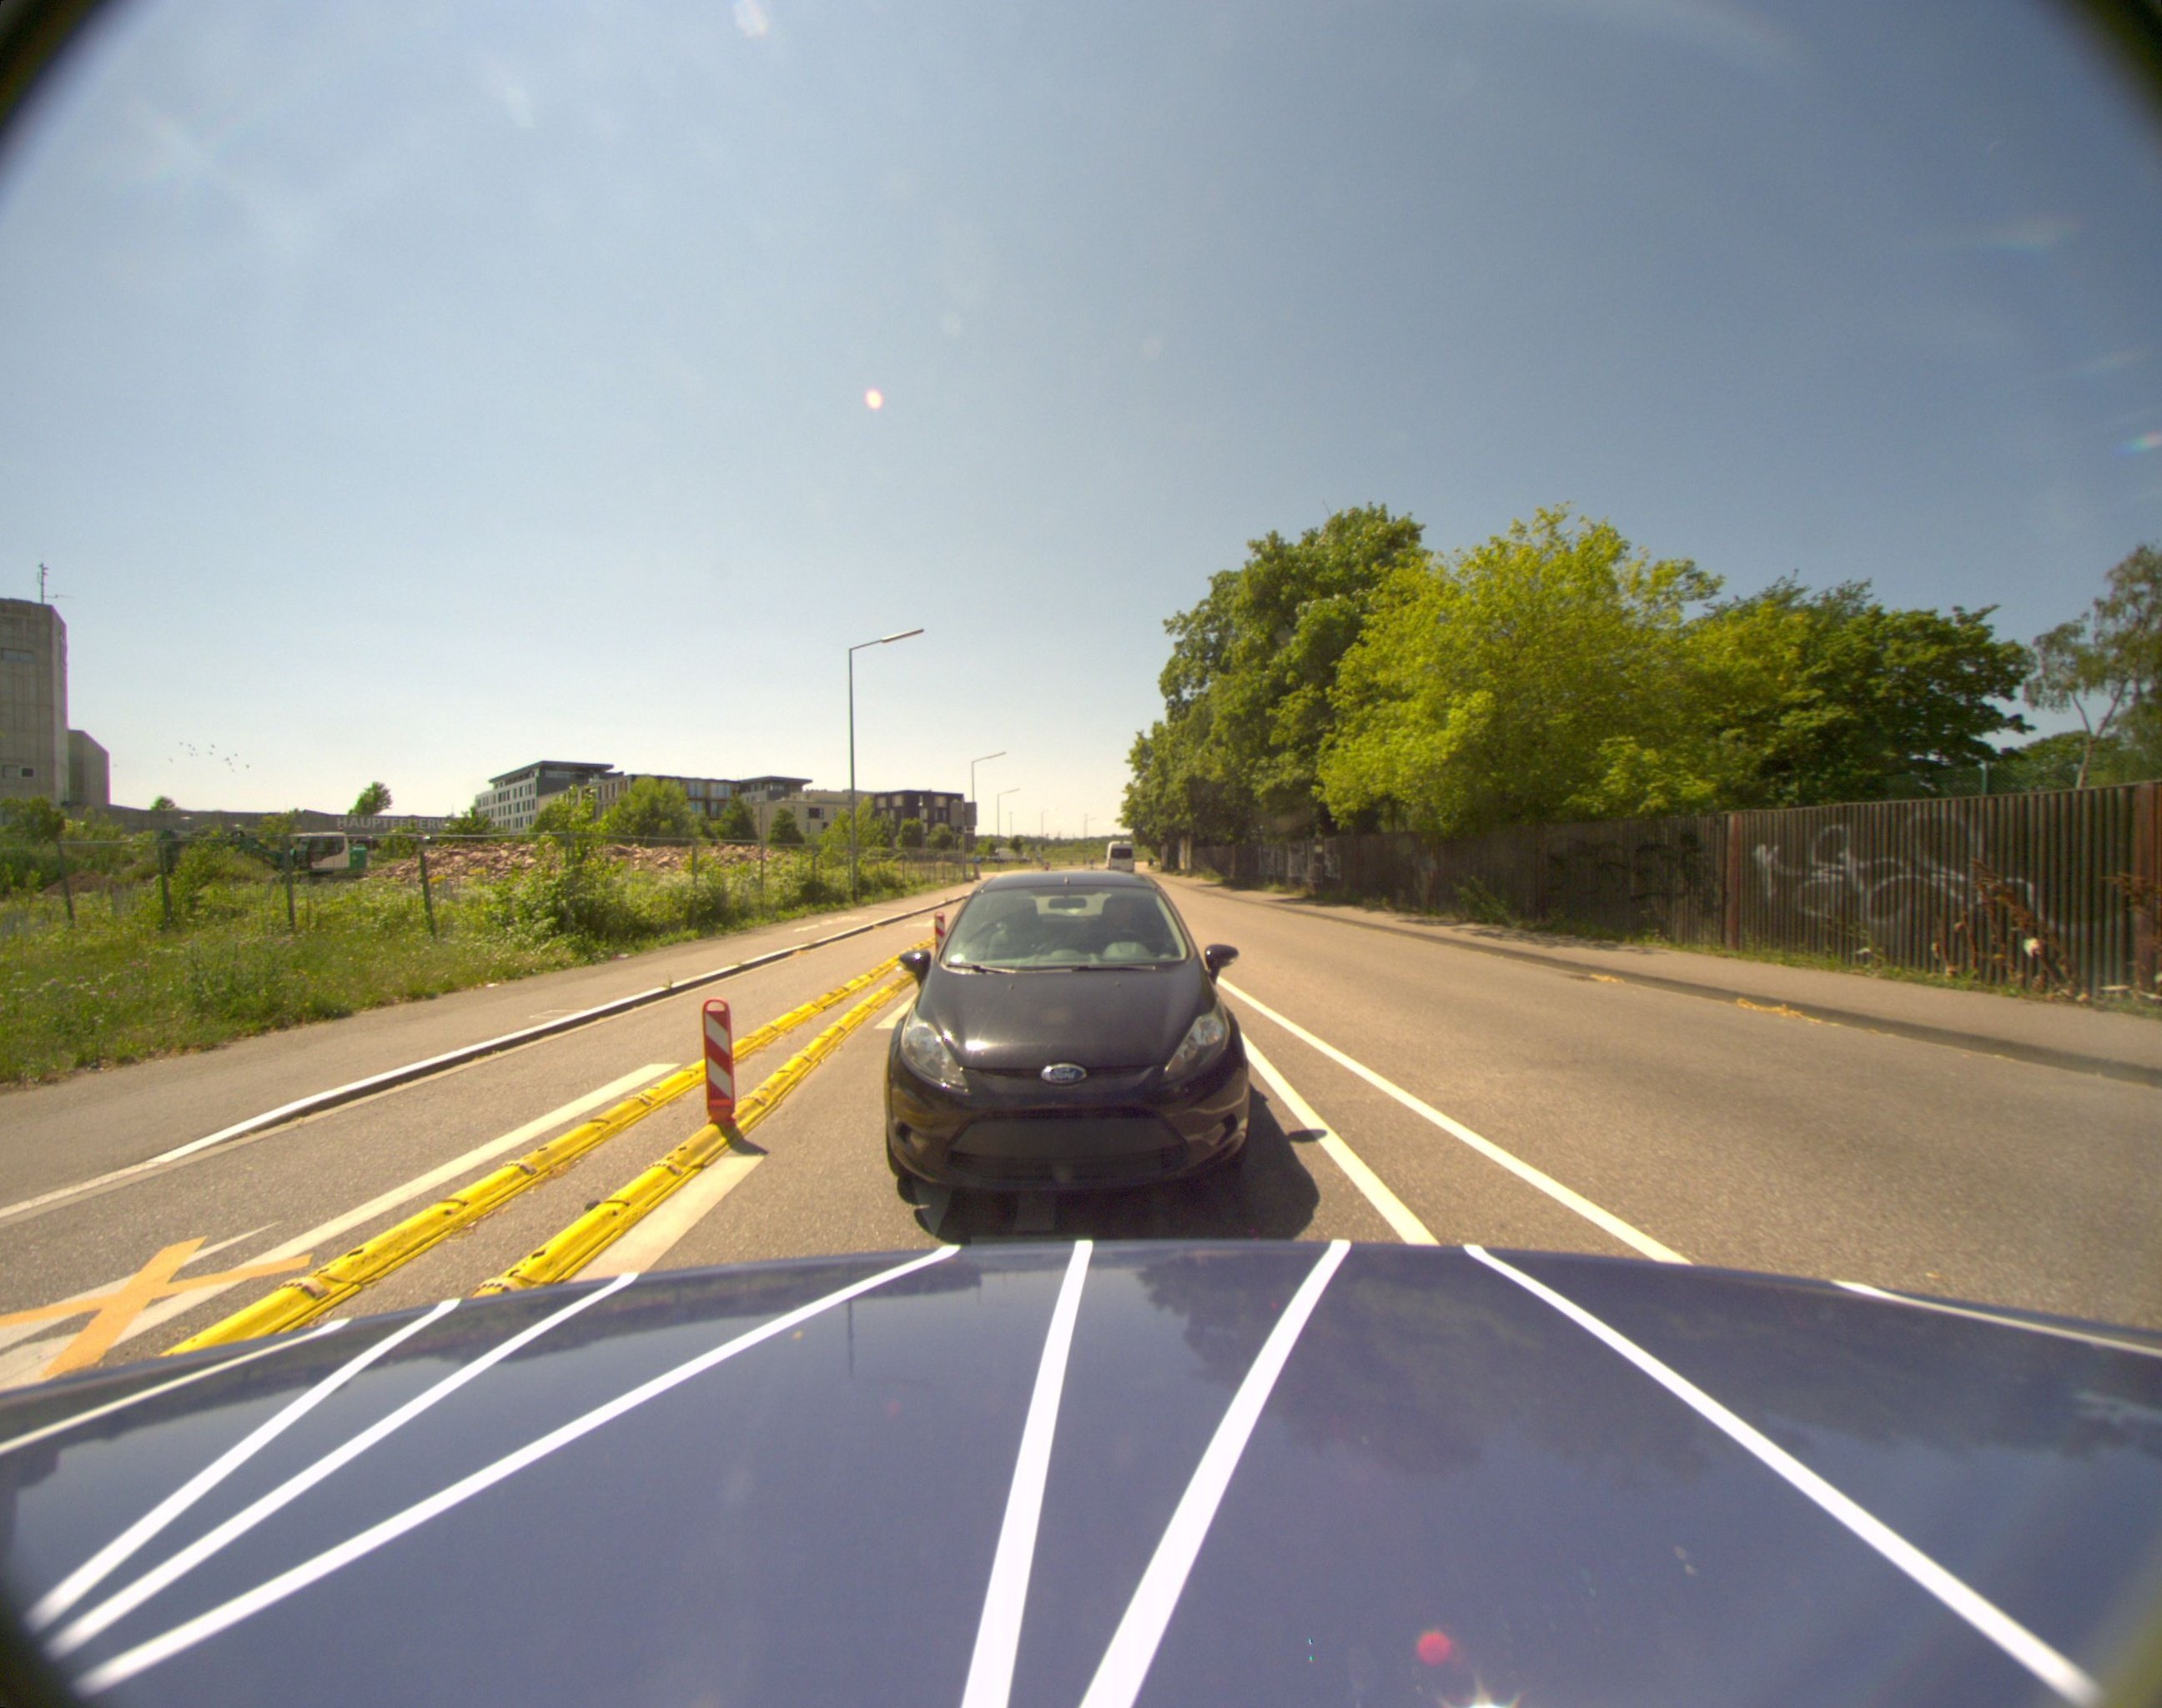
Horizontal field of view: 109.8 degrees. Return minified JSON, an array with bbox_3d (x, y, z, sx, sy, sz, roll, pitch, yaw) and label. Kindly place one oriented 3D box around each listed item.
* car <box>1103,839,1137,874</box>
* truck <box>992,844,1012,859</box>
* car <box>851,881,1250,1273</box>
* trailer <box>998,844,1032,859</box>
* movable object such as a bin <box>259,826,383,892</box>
[{"bbox_3d":[2.947,0.189,58.725,2.025,2.524,6.825,0,0,-2],"label":"car"},{"bbox_3d":[-17.874,-0.639,171.693,4.008,3.316,1.994,-1,1,-45],"label":"truck"},{"bbox_3d":[-0.104,0.991,5.119,1.602,1.422,4.000,-2,0,1],"label":"car"},{"bbox_3d":[-15.117,-0.642,174.433,8.194,3.329,1.994,-1,0,-45],"label":"trailer"},{"bbox_3d":[-37.630,0.238,37.773,2.204,3.045,3.690,-2,1,6],"label":"movable object such as a bin"}]
